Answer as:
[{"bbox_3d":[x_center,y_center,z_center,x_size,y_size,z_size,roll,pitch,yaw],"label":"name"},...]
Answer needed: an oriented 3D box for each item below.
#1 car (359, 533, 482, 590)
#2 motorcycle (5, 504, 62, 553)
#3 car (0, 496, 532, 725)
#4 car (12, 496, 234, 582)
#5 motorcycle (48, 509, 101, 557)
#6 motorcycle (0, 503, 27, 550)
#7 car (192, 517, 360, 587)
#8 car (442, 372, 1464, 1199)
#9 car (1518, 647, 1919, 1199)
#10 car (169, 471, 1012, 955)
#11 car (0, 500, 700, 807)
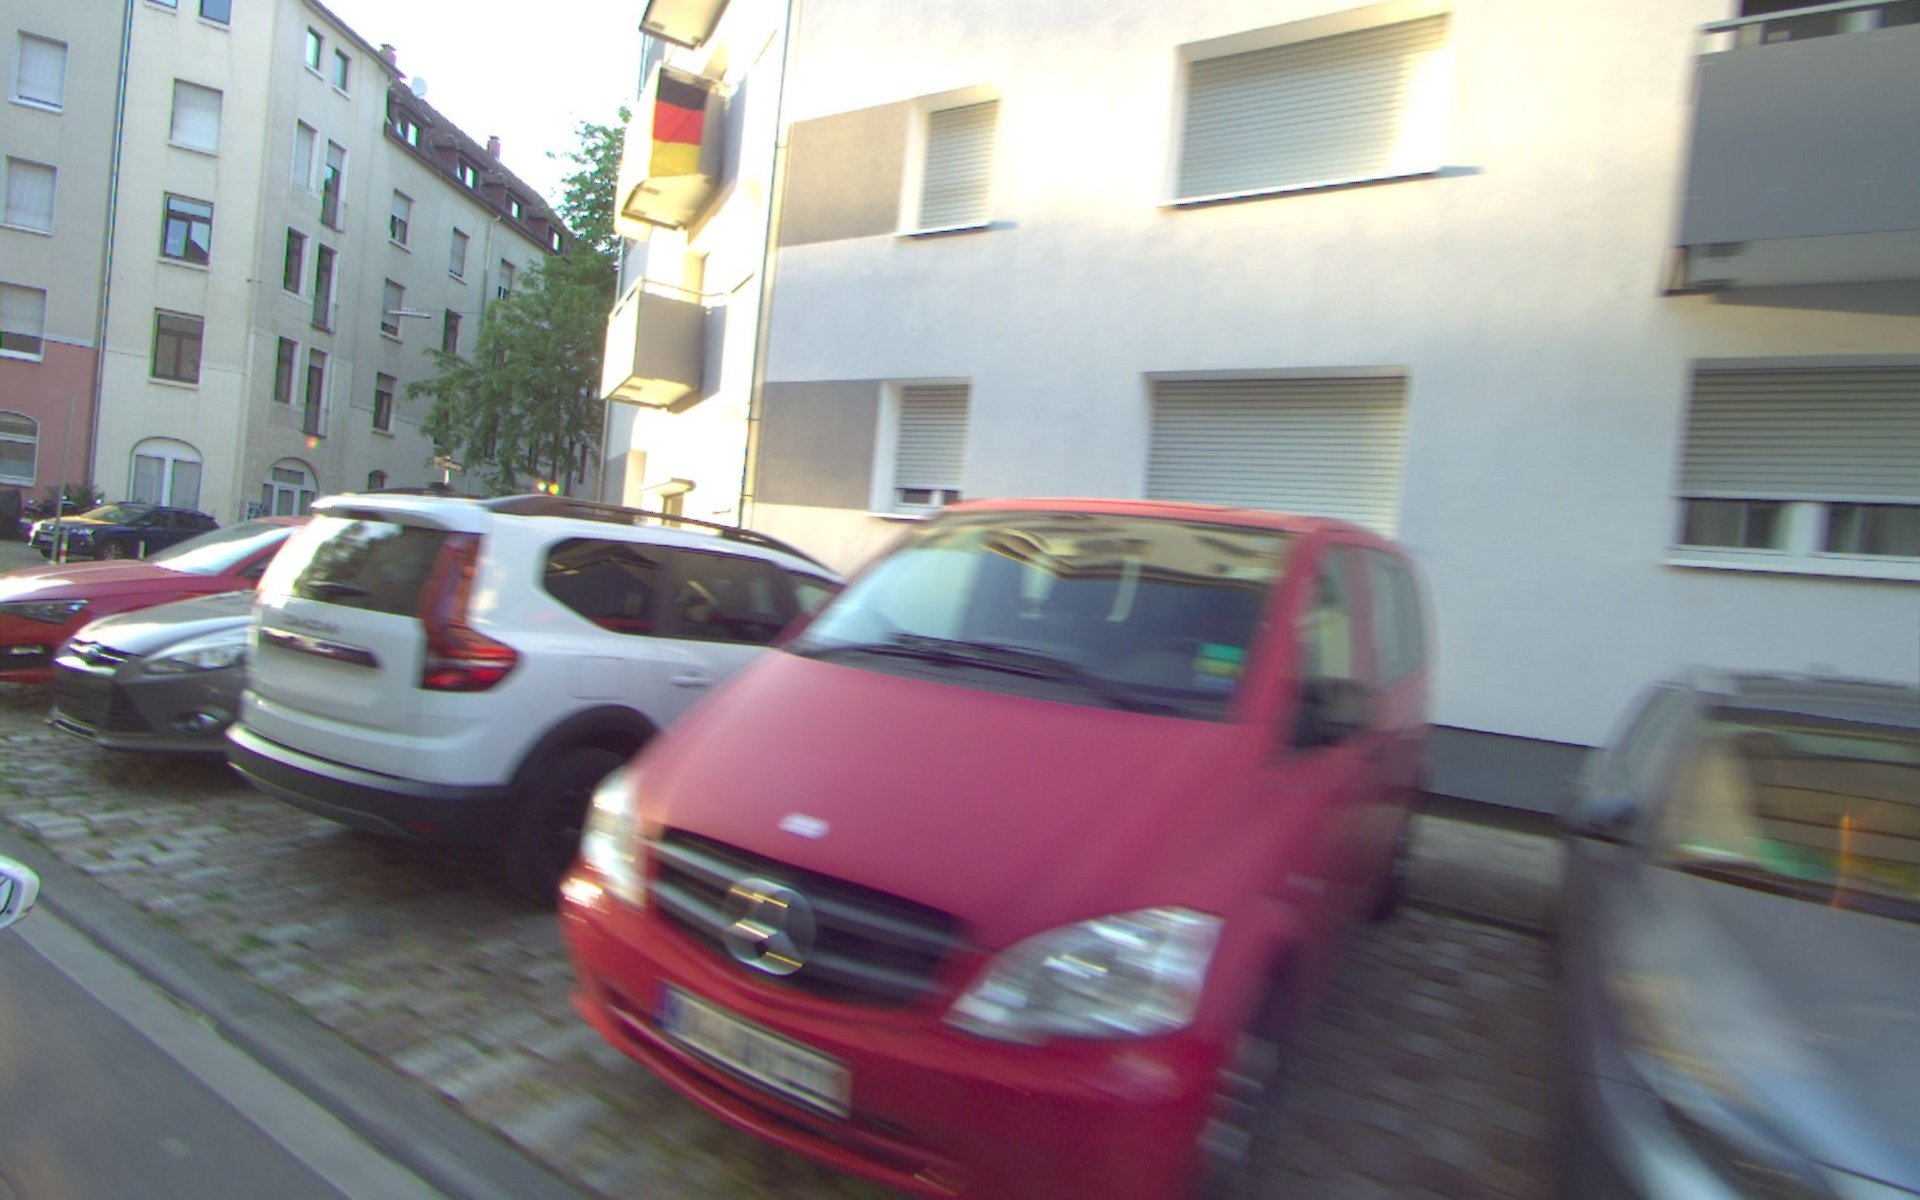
[{"bbox_3d":[-19.052,-1.316,35.733,1.679,1.594,3.900,6,0,11],"label":"car"},{"bbox_3d":[-25.482,-1.952,27.689,0.512,1.243,1.969,6,0,-25],"label":"motorcycle"},{"bbox_3d":[-5.772,0.057,8.361,1.607,1.447,3.813,6,1,31],"label":"car"},{"bbox_3d":[-20.227,-1.407,24.553,1.679,1.594,3.900,6,0,11],"label":"car"},{"bbox_3d":[-24.888,-1.874,28.316,0.512,1.243,1.969,6,0,-25],"label":"motorcycle"},{"bbox_3d":[-26.242,-2.019,27.274,0.511,1.243,1.974,6,0,-17],"label":"motorcycle"},{"bbox_3d":[-19.838,-1.329,29.396,1.679,1.594,3.900,6,0,11],"label":"car"},{"bbox_3d":[0.713,0.579,4.228,2.025,1.934,4.723,6,1,31],"label":"car"},{"bbox_3d":[2.642,0.987,2.931,1.609,1.490,4.146,6,1,31],"label":"car"},{"bbox_3d":[-1.559,0.398,5.790,1.788,1.659,4.325,6,1,31],"label":"car"},{"bbox_3d":[-3.804,0.273,6.918,1.607,1.447,3.813,6,1,31],"label":"car"}]
